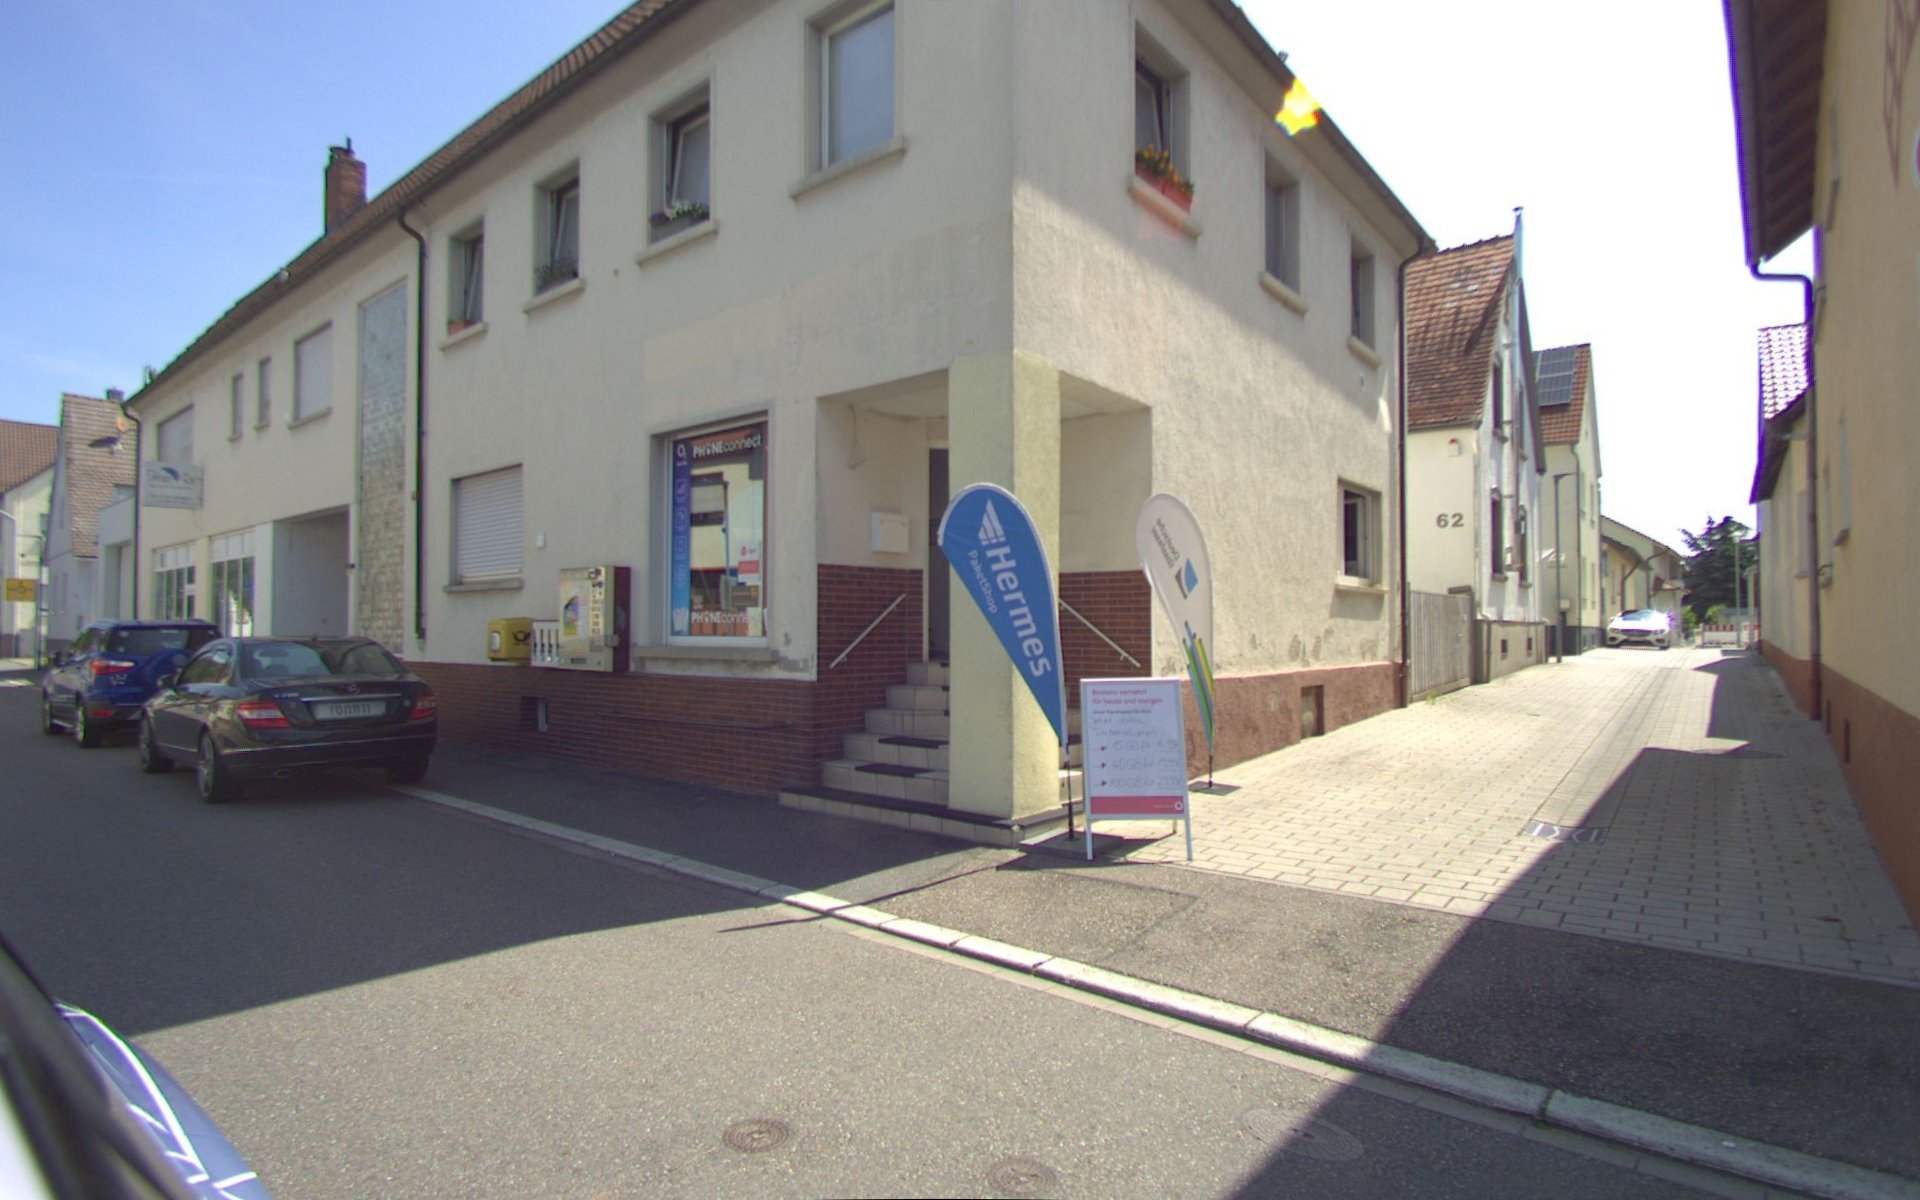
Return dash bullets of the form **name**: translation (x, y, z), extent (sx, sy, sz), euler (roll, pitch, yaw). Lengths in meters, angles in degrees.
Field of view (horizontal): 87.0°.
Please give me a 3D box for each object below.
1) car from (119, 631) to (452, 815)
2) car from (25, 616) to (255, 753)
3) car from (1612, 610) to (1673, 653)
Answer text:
- **car**: translation (-6.810, 1.036, 10.018), extent (4.388, 1.422, 1.680), euler (-2, -2, 42)
- **car**: translation (-11.600, 1.108, 14.228), extent (4.145, 1.652, 1.700), euler (-2, -4, 40)
- **car**: translation (25.402, 1.130, 37.618), extent (1.780, 1.460, 4.308), euler (0, 0, 35)
